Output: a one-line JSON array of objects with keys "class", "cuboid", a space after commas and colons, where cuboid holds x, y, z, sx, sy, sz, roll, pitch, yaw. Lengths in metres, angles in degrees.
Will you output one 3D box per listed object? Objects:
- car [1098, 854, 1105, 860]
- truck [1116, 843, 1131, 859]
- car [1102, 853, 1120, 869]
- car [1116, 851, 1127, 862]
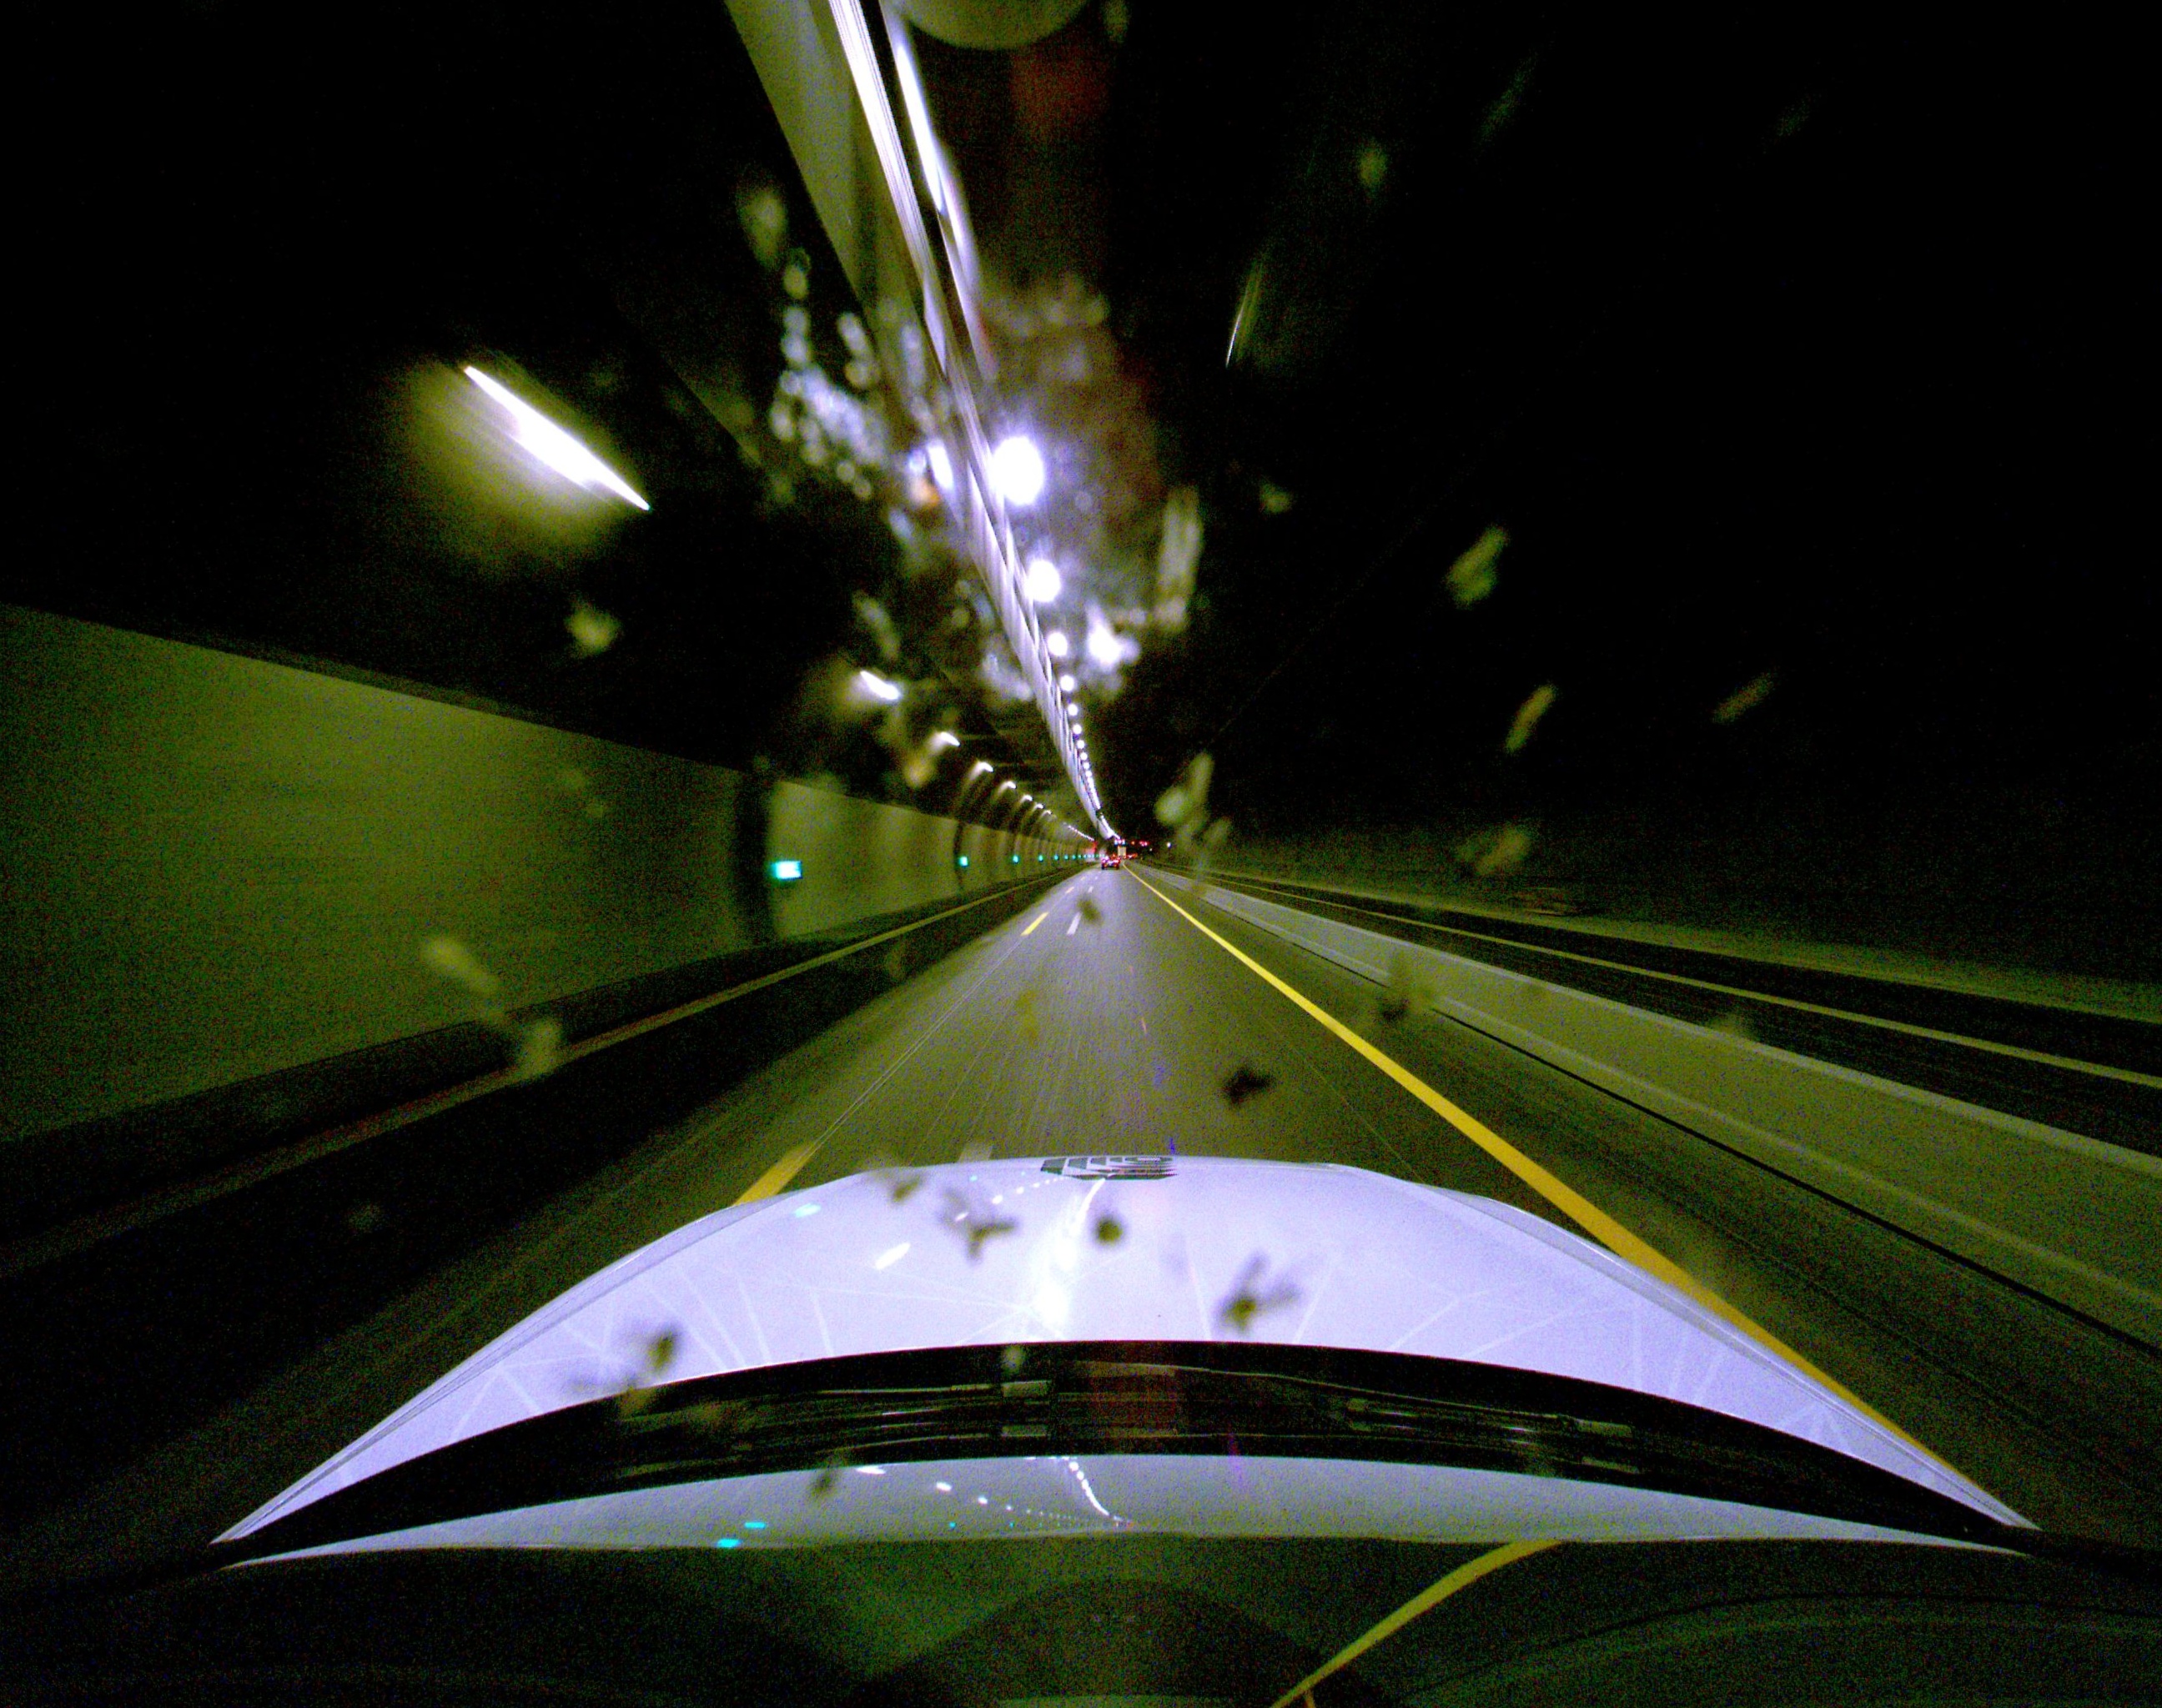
[{"class": "car", "cuboid": [5.228, 0.777, 207.940, 1.820, 1.607, 4.001, -1, -1, 1]}, {"class": "truck", "cuboid": [13.648, -0.939, 261.880, 4.526, 4.987, 9.608, -1, -1, 4]}, {"class": "car", "cuboid": [3.167, 0.718, 87.112, 1.881, 1.607, 4.001, -1, -1, 1]}, {"class": "car", "cuboid": [7.930, 0.529, 158.611, 1.986, 2.013, 4.002, -1, 0, 2]}]
